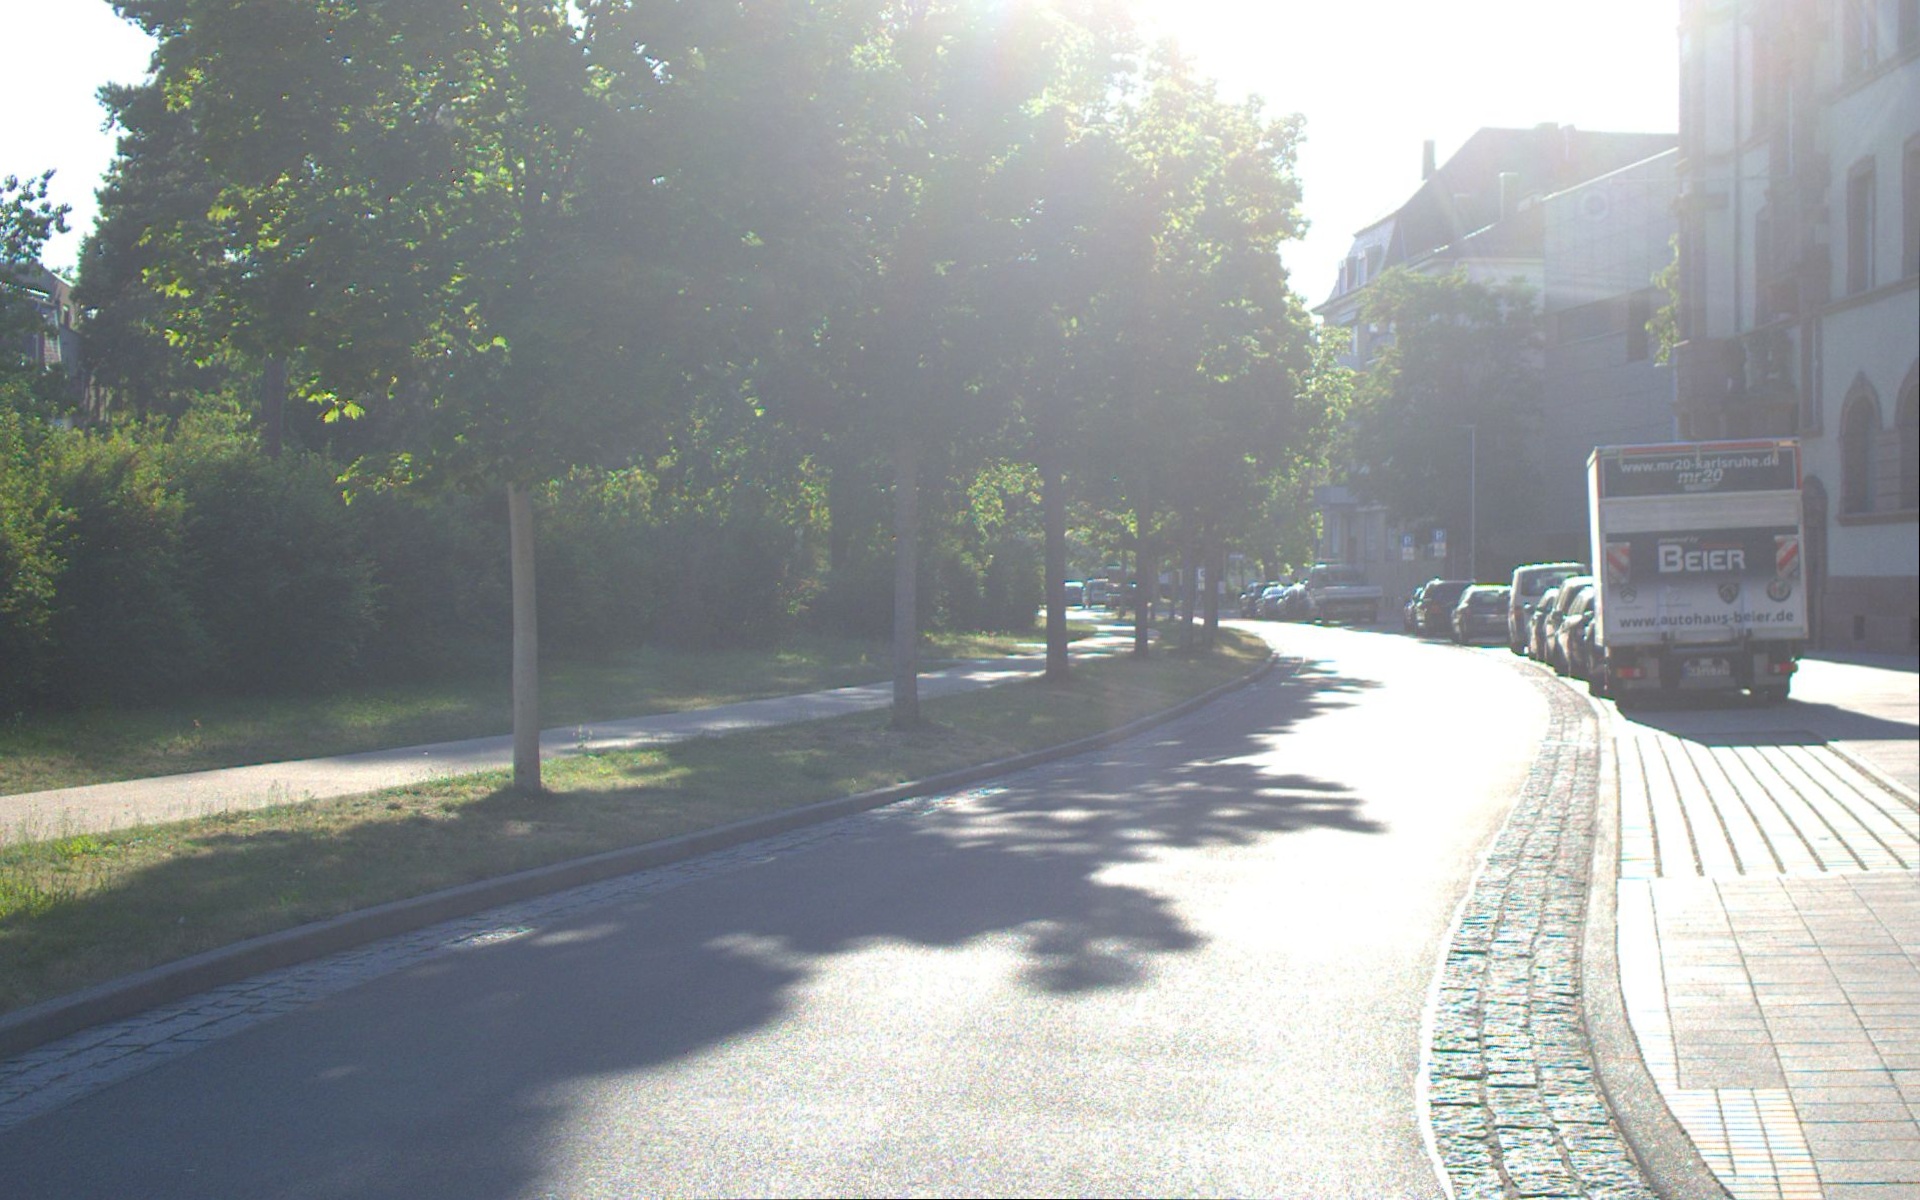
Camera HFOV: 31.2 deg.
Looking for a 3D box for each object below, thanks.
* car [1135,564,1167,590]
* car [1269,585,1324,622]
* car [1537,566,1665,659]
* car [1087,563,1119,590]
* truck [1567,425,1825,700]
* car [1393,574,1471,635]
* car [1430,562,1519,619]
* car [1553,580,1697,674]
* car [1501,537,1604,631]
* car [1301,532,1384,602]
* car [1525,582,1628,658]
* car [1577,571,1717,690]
[{"bbox_3d":[11.351,-1.369,204.505,1.794,1.505,4.000,1,1,1],"label":"car"},{"bbox_3d":[13.746,0.143,140.579,1.690,1.435,3.551,-1,1,-3],"label":"car"},{"bbox_3d":[11.543,0.202,62.108,1.816,1.597,4.192,-1,0,5],"label":"car"},{"bbox_3d":[9.092,-1.501,218.833,1.793,1.718,4.000,0,1,-1],"label":"car"},{"bbox_3d":[8.894,-0.446,42.080,2.624,3.110,6.085,0,0,8],"label":"truck"},{"bbox_3d":[13.767,0.118,100.358,1.724,1.663,4.114,-1,1,1],"label":"car"},{"bbox_3d":[13.433,-0.263,89.938,1.747,1.461,4.477,0,1,1],"label":"car"},{"bbox_3d":[10.882,0.418,56.531,1.872,1.431,4.521,-2,0,5],"label":"car"},{"bbox_3d":[13.386,-0.348,77.894,1.994,1.959,4.848,-3,0,7],"label":"car"},{"bbox_3d":[14.339,-1.237,129.095,2.211,2.521,6.148,-2,1,-1],"label":"car"},{"bbox_3d":[12.081,0.374,67.540,1.679,1.398,4.198,-2,0,6],"label":"car"},{"bbox_3d":[9.488,0.381,47.736,1.769,1.525,4.570,-2,0,10],"label":"car"}]
